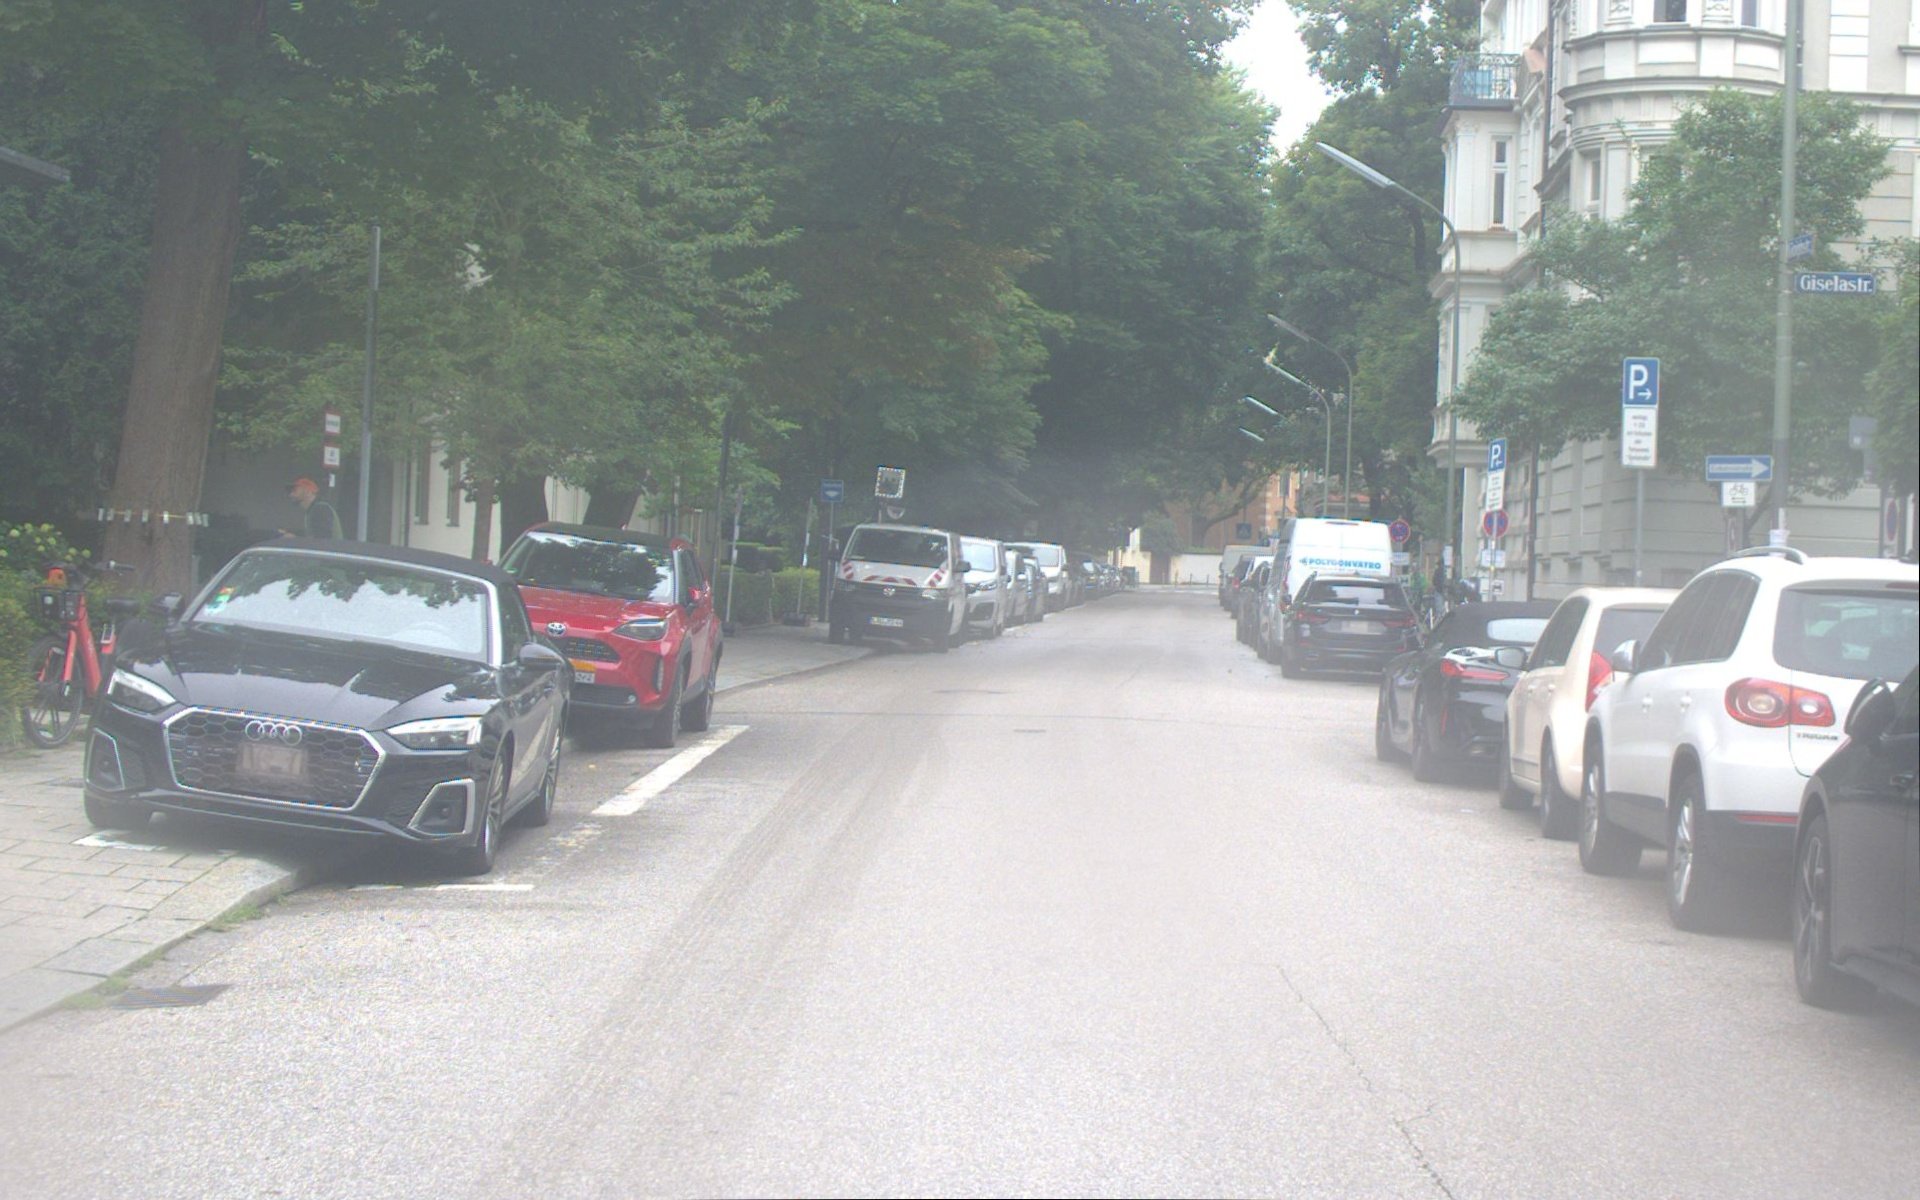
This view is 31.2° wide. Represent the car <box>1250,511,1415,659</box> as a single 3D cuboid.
[{"bbox_3d":[5.867,-0.239,54.694,2.204,2.201,4.855,1,0,2],"label":"car"}]

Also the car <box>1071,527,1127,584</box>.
[{"bbox_3d":[5.619,-1.786,139.429,2.047,2.147,4.314,4,1,1],"label":"car"}]

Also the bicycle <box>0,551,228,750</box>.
[{"bbox_3d":[-5.123,0.278,20.863,0.649,1.126,2.047,2,1,8],"label":"bicycle"}]

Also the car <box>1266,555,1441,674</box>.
[{"bbox_3d":[5.420,0.180,47.747,2.273,1.541,4.586,1,0,5],"label":"car"}]

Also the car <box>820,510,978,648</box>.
[{"bbox_3d":[-0.919,-0.354,54.994,2.248,1.950,5.454,4,1,1],"label":"car"}]

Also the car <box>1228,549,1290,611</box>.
[{"bbox_3d":[10.173,-0.698,116.776,1.994,2.007,3.999,2,1,5],"label":"car"}]

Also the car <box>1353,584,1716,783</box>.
[{"bbox_3d":[4.164,0.555,25.653,2.000,1.314,4.595,0,1,1],"label":"car"}]

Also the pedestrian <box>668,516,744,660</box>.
[{"bbox_3d":[-2.830,-0.138,38.404,0.713,1.543,0.753,4,1,-2],"label":"pedestrian"}]

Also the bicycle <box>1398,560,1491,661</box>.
[{"bbox_3d":[7.609,0.151,54.088,0.707,1.510,2.039,2,1,-13],"label":"bicycle"}]

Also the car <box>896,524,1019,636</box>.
[{"bbox_3d":[-0.014,-0.412,66.681,2.183,1.950,5.167,4,1,1],"label":"car"}]

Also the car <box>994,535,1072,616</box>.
[{"bbox_3d":[2.134,-0.711,99.613,2.002,2.179,4.695,4,1,3],"label":"car"}]

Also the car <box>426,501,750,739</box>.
[{"bbox_3d":[-2.804,0.118,26.886,1.887,1.585,4.528,4,1,1],"label":"car"}]

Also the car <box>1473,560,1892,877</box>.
[{"bbox_3d":[4.249,0.631,20.771,1.771,1.541,3.711,7,1,3],"label":"car"}]

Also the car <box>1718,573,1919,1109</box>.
[{"bbox_3d":[3.745,0.716,10.856,1.838,1.526,4.415,1,1,2],"label":"car"}]

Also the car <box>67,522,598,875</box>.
[{"bbox_3d":[-2.938,0.385,17.152,1.807,1.397,4.924,4,1,-2],"label":"car"}]

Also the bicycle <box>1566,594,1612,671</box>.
[{"bbox_3d":[9.125,0.460,49.851,0.546,1.056,1.749,2,1,13],"label":"bicycle"}]

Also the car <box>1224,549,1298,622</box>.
[{"bbox_3d":[8.561,-0.420,97.657,1.994,1.969,3.999,2,1,5],"label":"car"}]

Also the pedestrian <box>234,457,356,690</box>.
[{"bbox_3d":[-5.463,-0.220,28.276,0.712,1.846,0.797,4,0,2],"label":"pedestrian"}]

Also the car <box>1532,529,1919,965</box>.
[{"bbox_3d":[4.080,0.603,16.151,1.994,1.701,4.534,4,1,1],"label":"car"}]
